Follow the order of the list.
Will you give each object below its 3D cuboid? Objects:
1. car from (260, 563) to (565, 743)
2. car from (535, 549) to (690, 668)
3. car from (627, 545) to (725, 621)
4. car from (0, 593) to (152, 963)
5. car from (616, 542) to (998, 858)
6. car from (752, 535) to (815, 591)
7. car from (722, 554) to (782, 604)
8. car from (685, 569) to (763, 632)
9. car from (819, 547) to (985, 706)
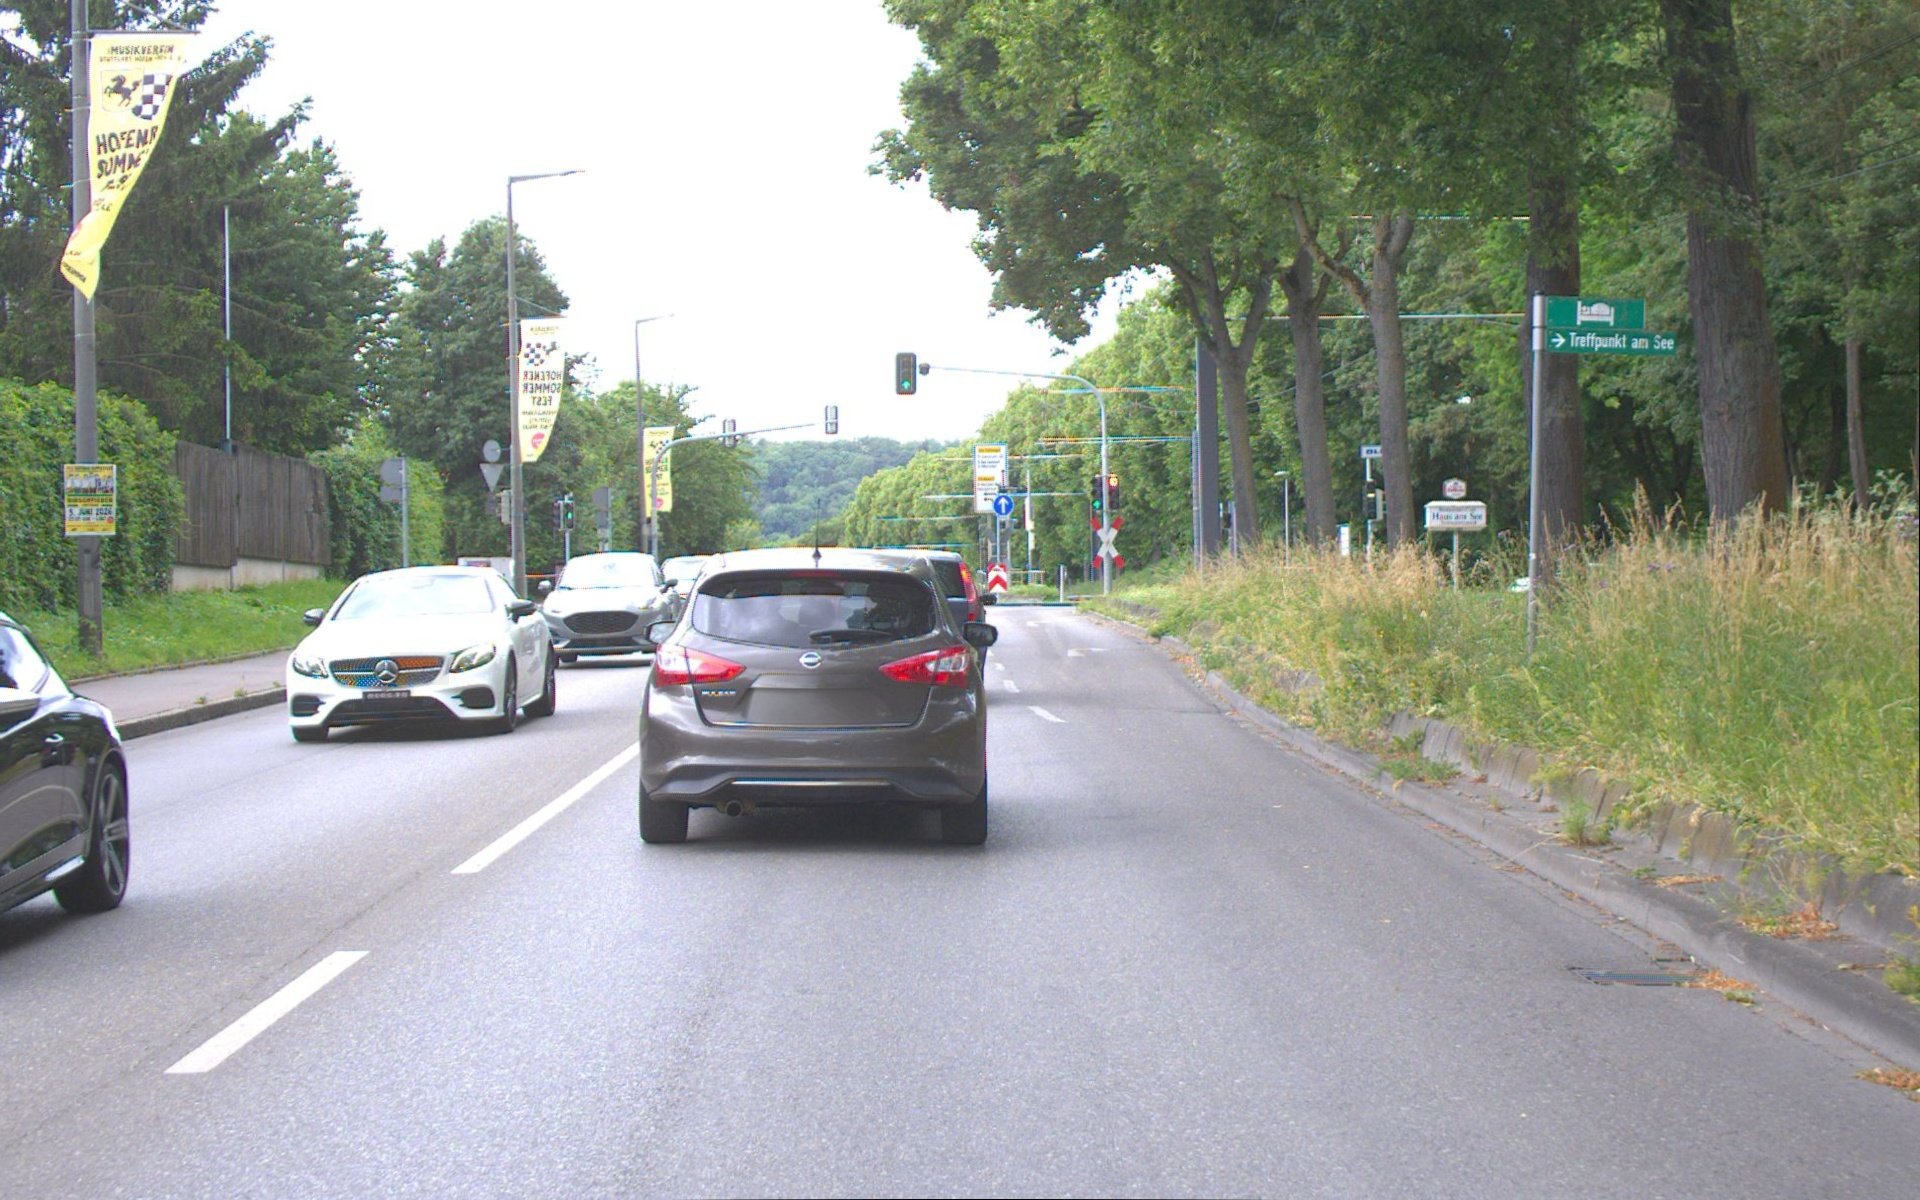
[{"bbox_3d":[-4.735,0.407,30.342,1.886,1.378,4.491,-2,1,1],"label":"car"},{"bbox_3d":[-4.783,0.081,47.776,1.751,1.513,4.000,-2,1,-1],"label":"car"},{"bbox_3d":[-5.919,-0.376,72.006,1.728,1.459,4.154,-2,1,-1],"label":"car"},{"bbox_3d":[-4.427,0.704,13.115,1.650,1.343,4.478,-2,1,-1],"label":"car"},{"bbox_3d":[-0.761,0.448,18.938,1.835,1.514,4.483,1,1,0],"label":"car"},{"bbox_3d":[-5.024,-1.064,98.183,1.643,1.476,4.107,-3,1,-2],"label":"car"},{"bbox_3d":[-6.738,-0.699,111.824,1.812,1.519,4.178,-2,1,-2],"label":"car"},{"bbox_3d":[-6.025,-0.010,88.189,1.618,1.456,4.072,-4,1,0],"label":"car"},{"bbox_3d":[-0.562,0.221,34.277,1.538,1.473,3.764,-1,1,0],"label":"car"}]
